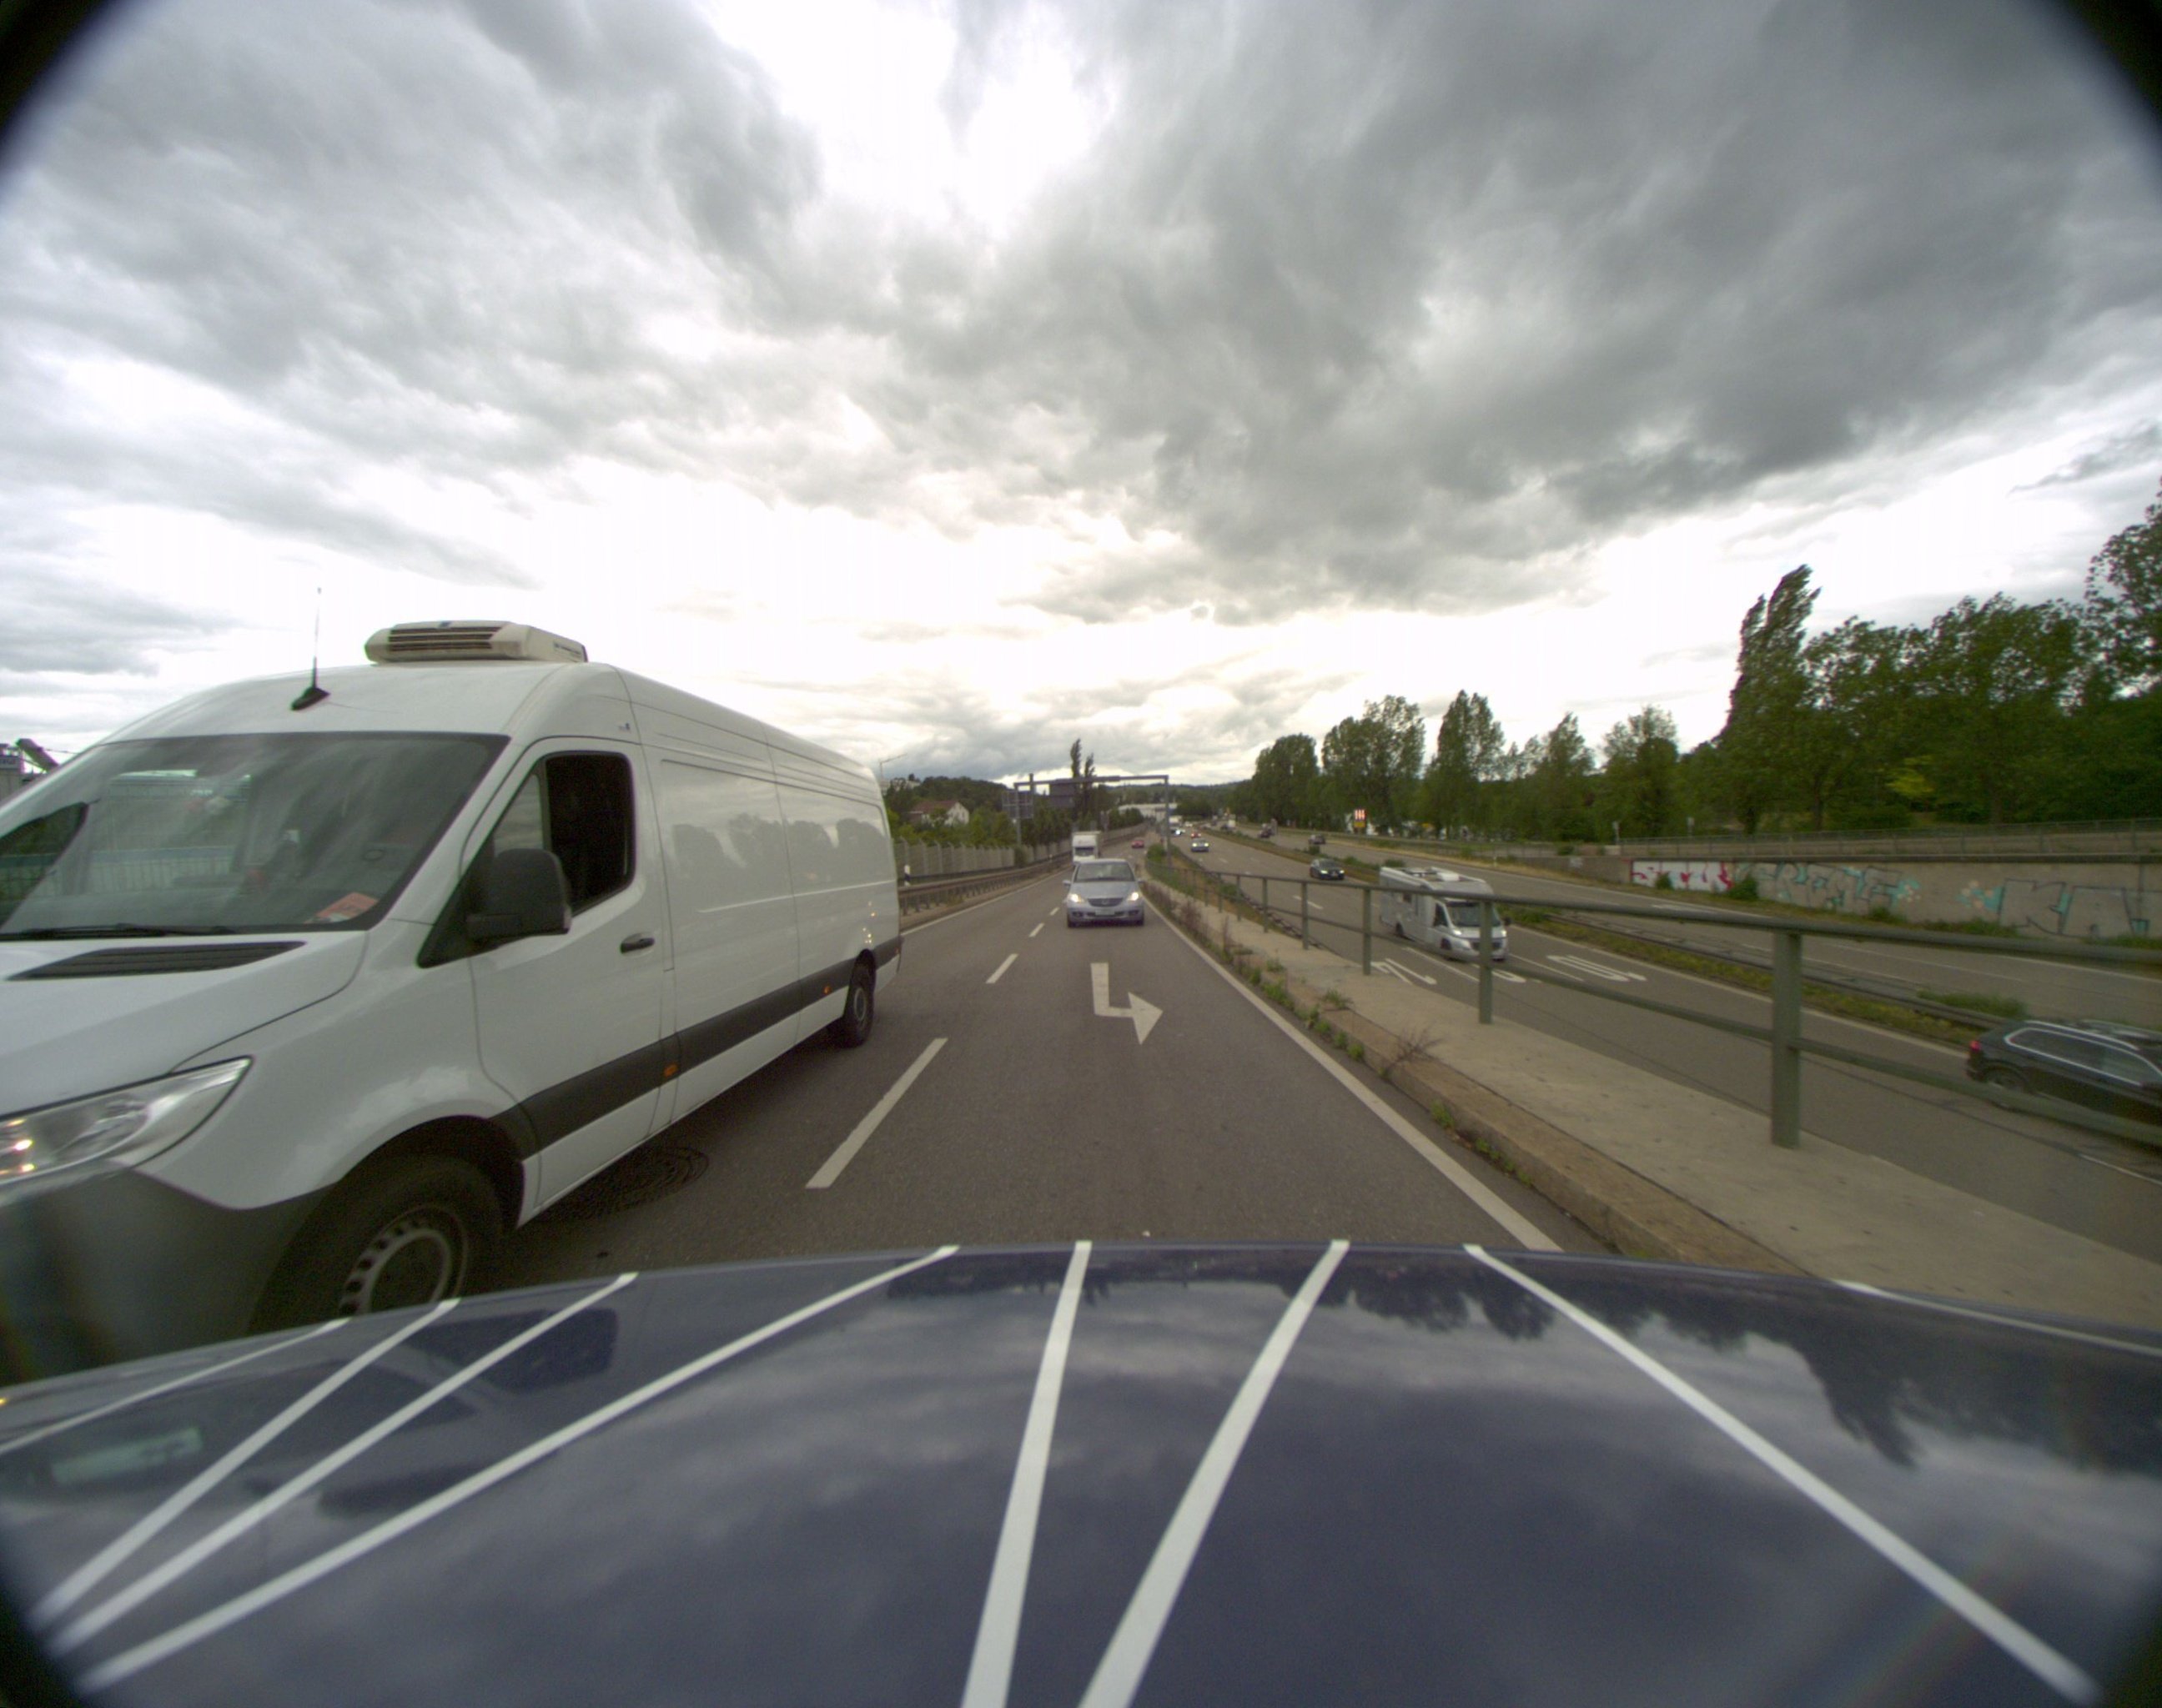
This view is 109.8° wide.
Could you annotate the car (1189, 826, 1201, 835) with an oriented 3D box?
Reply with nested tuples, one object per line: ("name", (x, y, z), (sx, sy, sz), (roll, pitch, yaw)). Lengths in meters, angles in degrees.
("car", (21.776, -4.563, 145.208), (1.756, 1.433, 4.162), (-1, 5, 3))

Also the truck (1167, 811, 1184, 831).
("truck", (19.789, -6.958, 159.335), (2.758, 4.229, 6.694), (-1, 4, 1))

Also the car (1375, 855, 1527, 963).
("car", (14.121, 1.885, 29.796), (2.367, 3.223, 7.656), (0, 4, 2))

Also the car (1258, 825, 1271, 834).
("car", (33.336, -4.551, 138.171), (1.668, 1.493, 3.856), (0, 4, 2))

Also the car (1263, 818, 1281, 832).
("car", (38.816, -5.904, 154.666), (2.249, 2.533, 6.111), (-1, 3, 1))

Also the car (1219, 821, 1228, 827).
("car", (40.522, -8.534, 216.479), (1.903, 1.641, 4.331), (0, 4, 2))

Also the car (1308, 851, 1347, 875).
("car", (18.863, 0.661, 58.409), (1.753, 1.562, 4.217), (-2, 3, 2))

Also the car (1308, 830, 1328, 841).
("car", (34.832, -2.765, 111.750), (1.715, 1.368, 4.108), (0, 4, 1))

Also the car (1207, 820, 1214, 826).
("car", (41.279, -9.975, 242.508), (1.761, 1.641, 3.929), (-2, 4, 2))

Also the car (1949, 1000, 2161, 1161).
("car", (17.175, 3.706, 12.088), (1.845, 1.704, 4.277), (-1, 4, 2))

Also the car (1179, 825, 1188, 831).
("car", (24.646, -6.286, 182.667), (1.920, 1.411, 4.274), (-2, 4, 3))

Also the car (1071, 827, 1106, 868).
("car", (0.709, -0.599, 66.898), (2.665, 3.311, 7.090), (-2, 1, 3))

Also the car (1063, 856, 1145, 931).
("car", (0.567, 0.881, 18.858), (1.780, 1.578, 4.000), (-2, 0, 2))

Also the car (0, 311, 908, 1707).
("car", (-2.973, 0.379, 4.557), (2.115, 2.767, 6.779), (-2, 1, 1))

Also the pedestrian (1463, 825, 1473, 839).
("pedestrian", (49.765, -2.808, 97.660), (0.831, 1.696, 1.077), (-2, 4, 2))

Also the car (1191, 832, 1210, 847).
("car", (15.147, -1.833, 96.643), (1.845, 1.789, 4.280), (-2, 1, 2))

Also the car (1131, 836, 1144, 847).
("car", (8.269, -1.812, 111.450), (1.780, 1.578, 4.001), (-2, 0, 4))

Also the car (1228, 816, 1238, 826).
("car", (46.700, -10.227, 233.476), (2.215, 2.765, 5.358), (0, 4, 2))
